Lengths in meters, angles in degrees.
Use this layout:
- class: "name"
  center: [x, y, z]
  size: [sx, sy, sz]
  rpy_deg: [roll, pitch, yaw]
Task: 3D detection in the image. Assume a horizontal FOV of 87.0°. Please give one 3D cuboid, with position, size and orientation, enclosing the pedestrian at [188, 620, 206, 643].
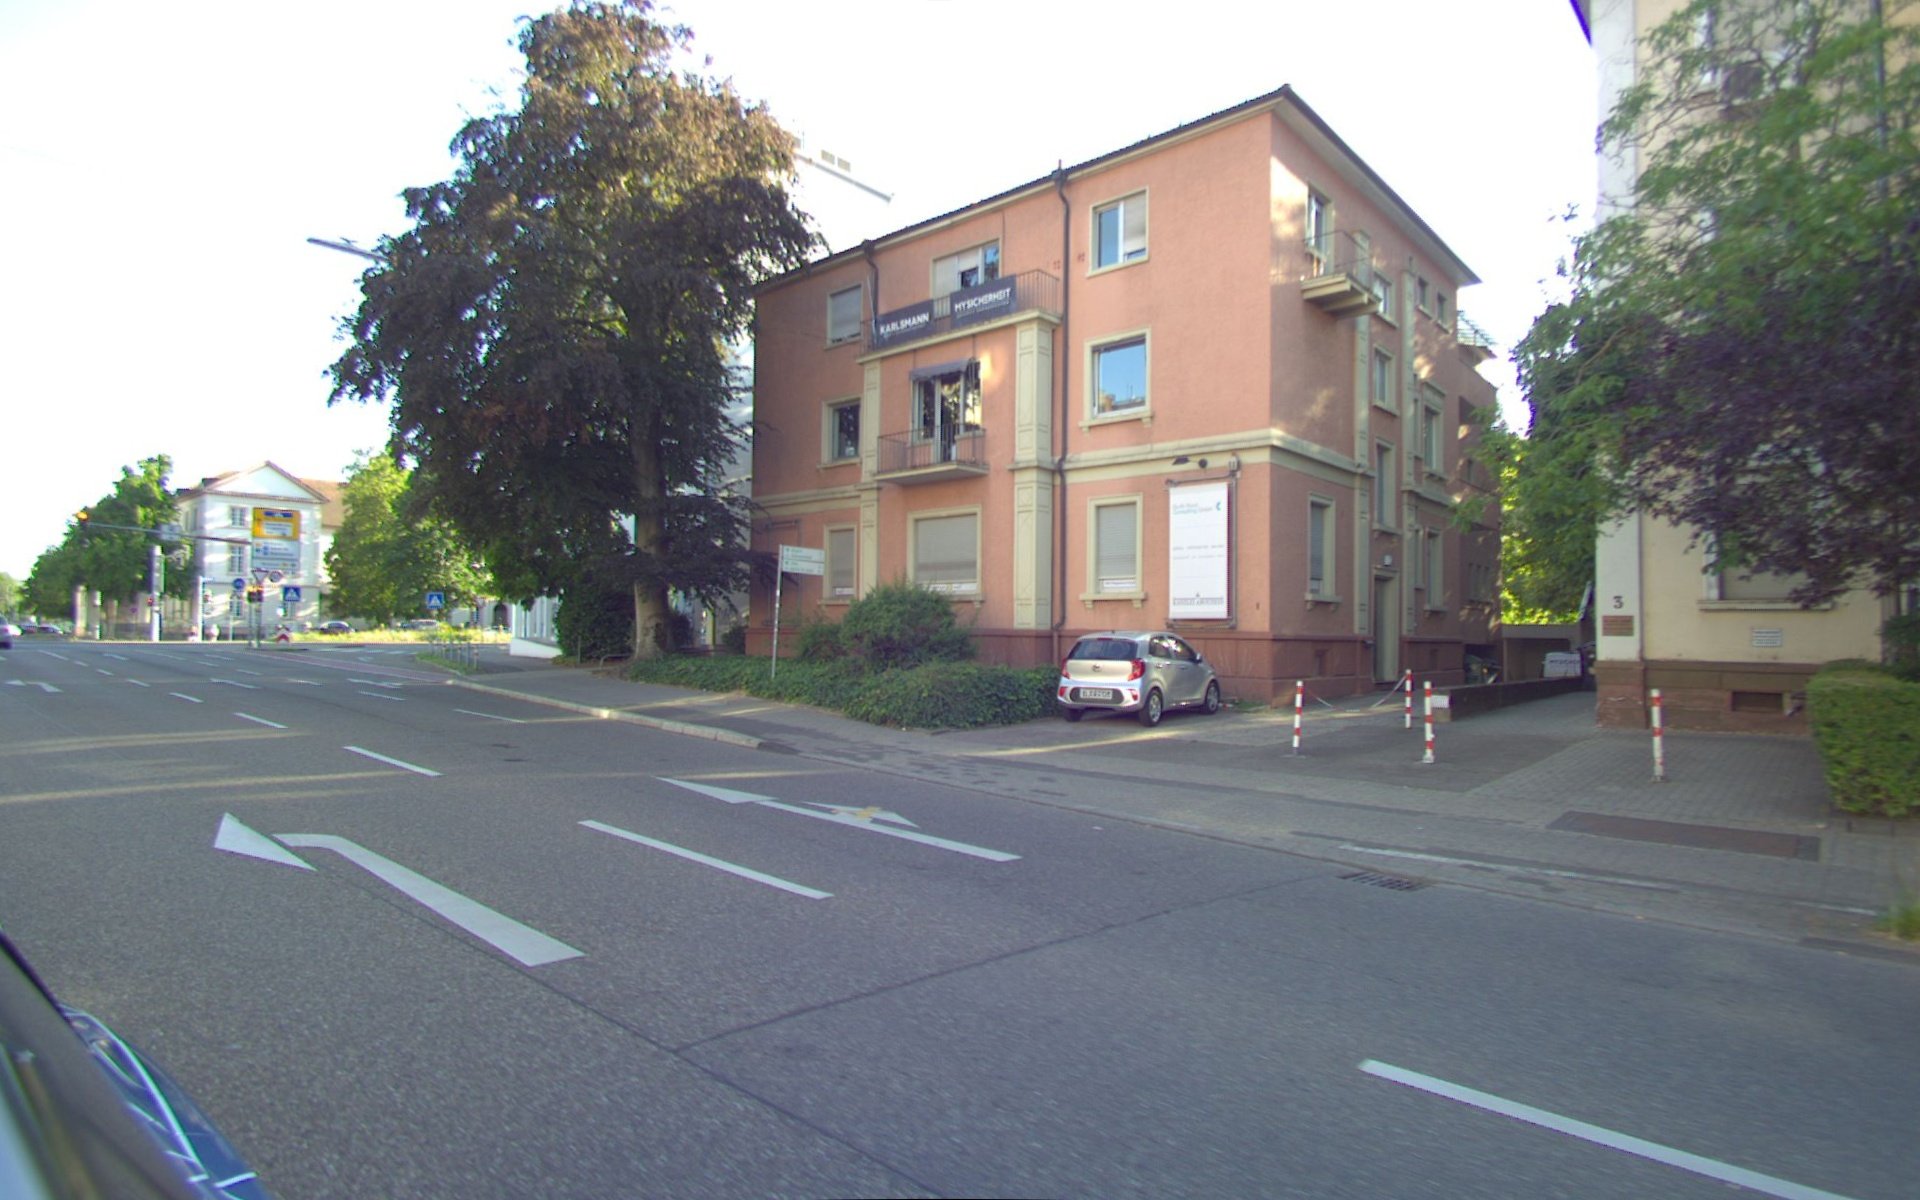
- class: "pedestrian"
  center: [-60.928, 2.500, 80.799]
  size: [1.166, 1.863, 0.811]
  rpy_deg: [-1, -3, 33]

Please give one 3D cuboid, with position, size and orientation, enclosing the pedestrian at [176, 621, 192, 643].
- class: "pedestrian"
  center: [-61.459, 2.563, 80.130]
  size: [1.081, 1.721, 0.671]
  rpy_deg: [-1, -3, 33]

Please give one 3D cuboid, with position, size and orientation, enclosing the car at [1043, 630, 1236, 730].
- class: "car"
  center: [3.102, 1.272, 17.102]
  size: [1.813, 1.497, 3.464]
  rpy_deg: [-2, -3, 38]

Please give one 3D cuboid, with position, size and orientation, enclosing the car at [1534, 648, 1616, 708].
- class: "car"
  center: [20.016, 2.468, 32.878]
  size: [1.813, 1.776, 3.938]
  rpy_deg: [-2, -3, 38]

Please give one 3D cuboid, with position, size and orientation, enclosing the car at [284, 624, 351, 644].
- class: "car"
  center: [-45.925, 2.436, 72.391]
  size: [1.997, 1.457, 3.601]
  rpy_deg: [-1, -3, 37]

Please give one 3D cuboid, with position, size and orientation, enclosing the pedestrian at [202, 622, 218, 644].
- class: "pedestrian"
  center: [-57.501, 2.520, 77.615]
  size: [0.880, 1.663, 0.671]
  rpy_deg: [-1, -3, 33]

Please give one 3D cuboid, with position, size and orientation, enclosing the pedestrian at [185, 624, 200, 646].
- class: "pedestrian"
  center: [-58.173, 2.676, 76.719]
  size: [0.887, 1.663, 0.614]
  rpy_deg: [-1, -3, 33]

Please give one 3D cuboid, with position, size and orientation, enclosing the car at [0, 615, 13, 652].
- class: "car"
  center: [-41.068, 1.398, 42.386]
  size: [4.606, 1.526, 1.807]
  rpy_deg: [-2, -3, 45]

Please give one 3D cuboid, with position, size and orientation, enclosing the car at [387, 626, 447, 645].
- class: "car"
  center: [-41.995, 2.759, 78.266]
  size: [1.997, 1.457, 3.601]
  rpy_deg: [-1, -3, 37]
